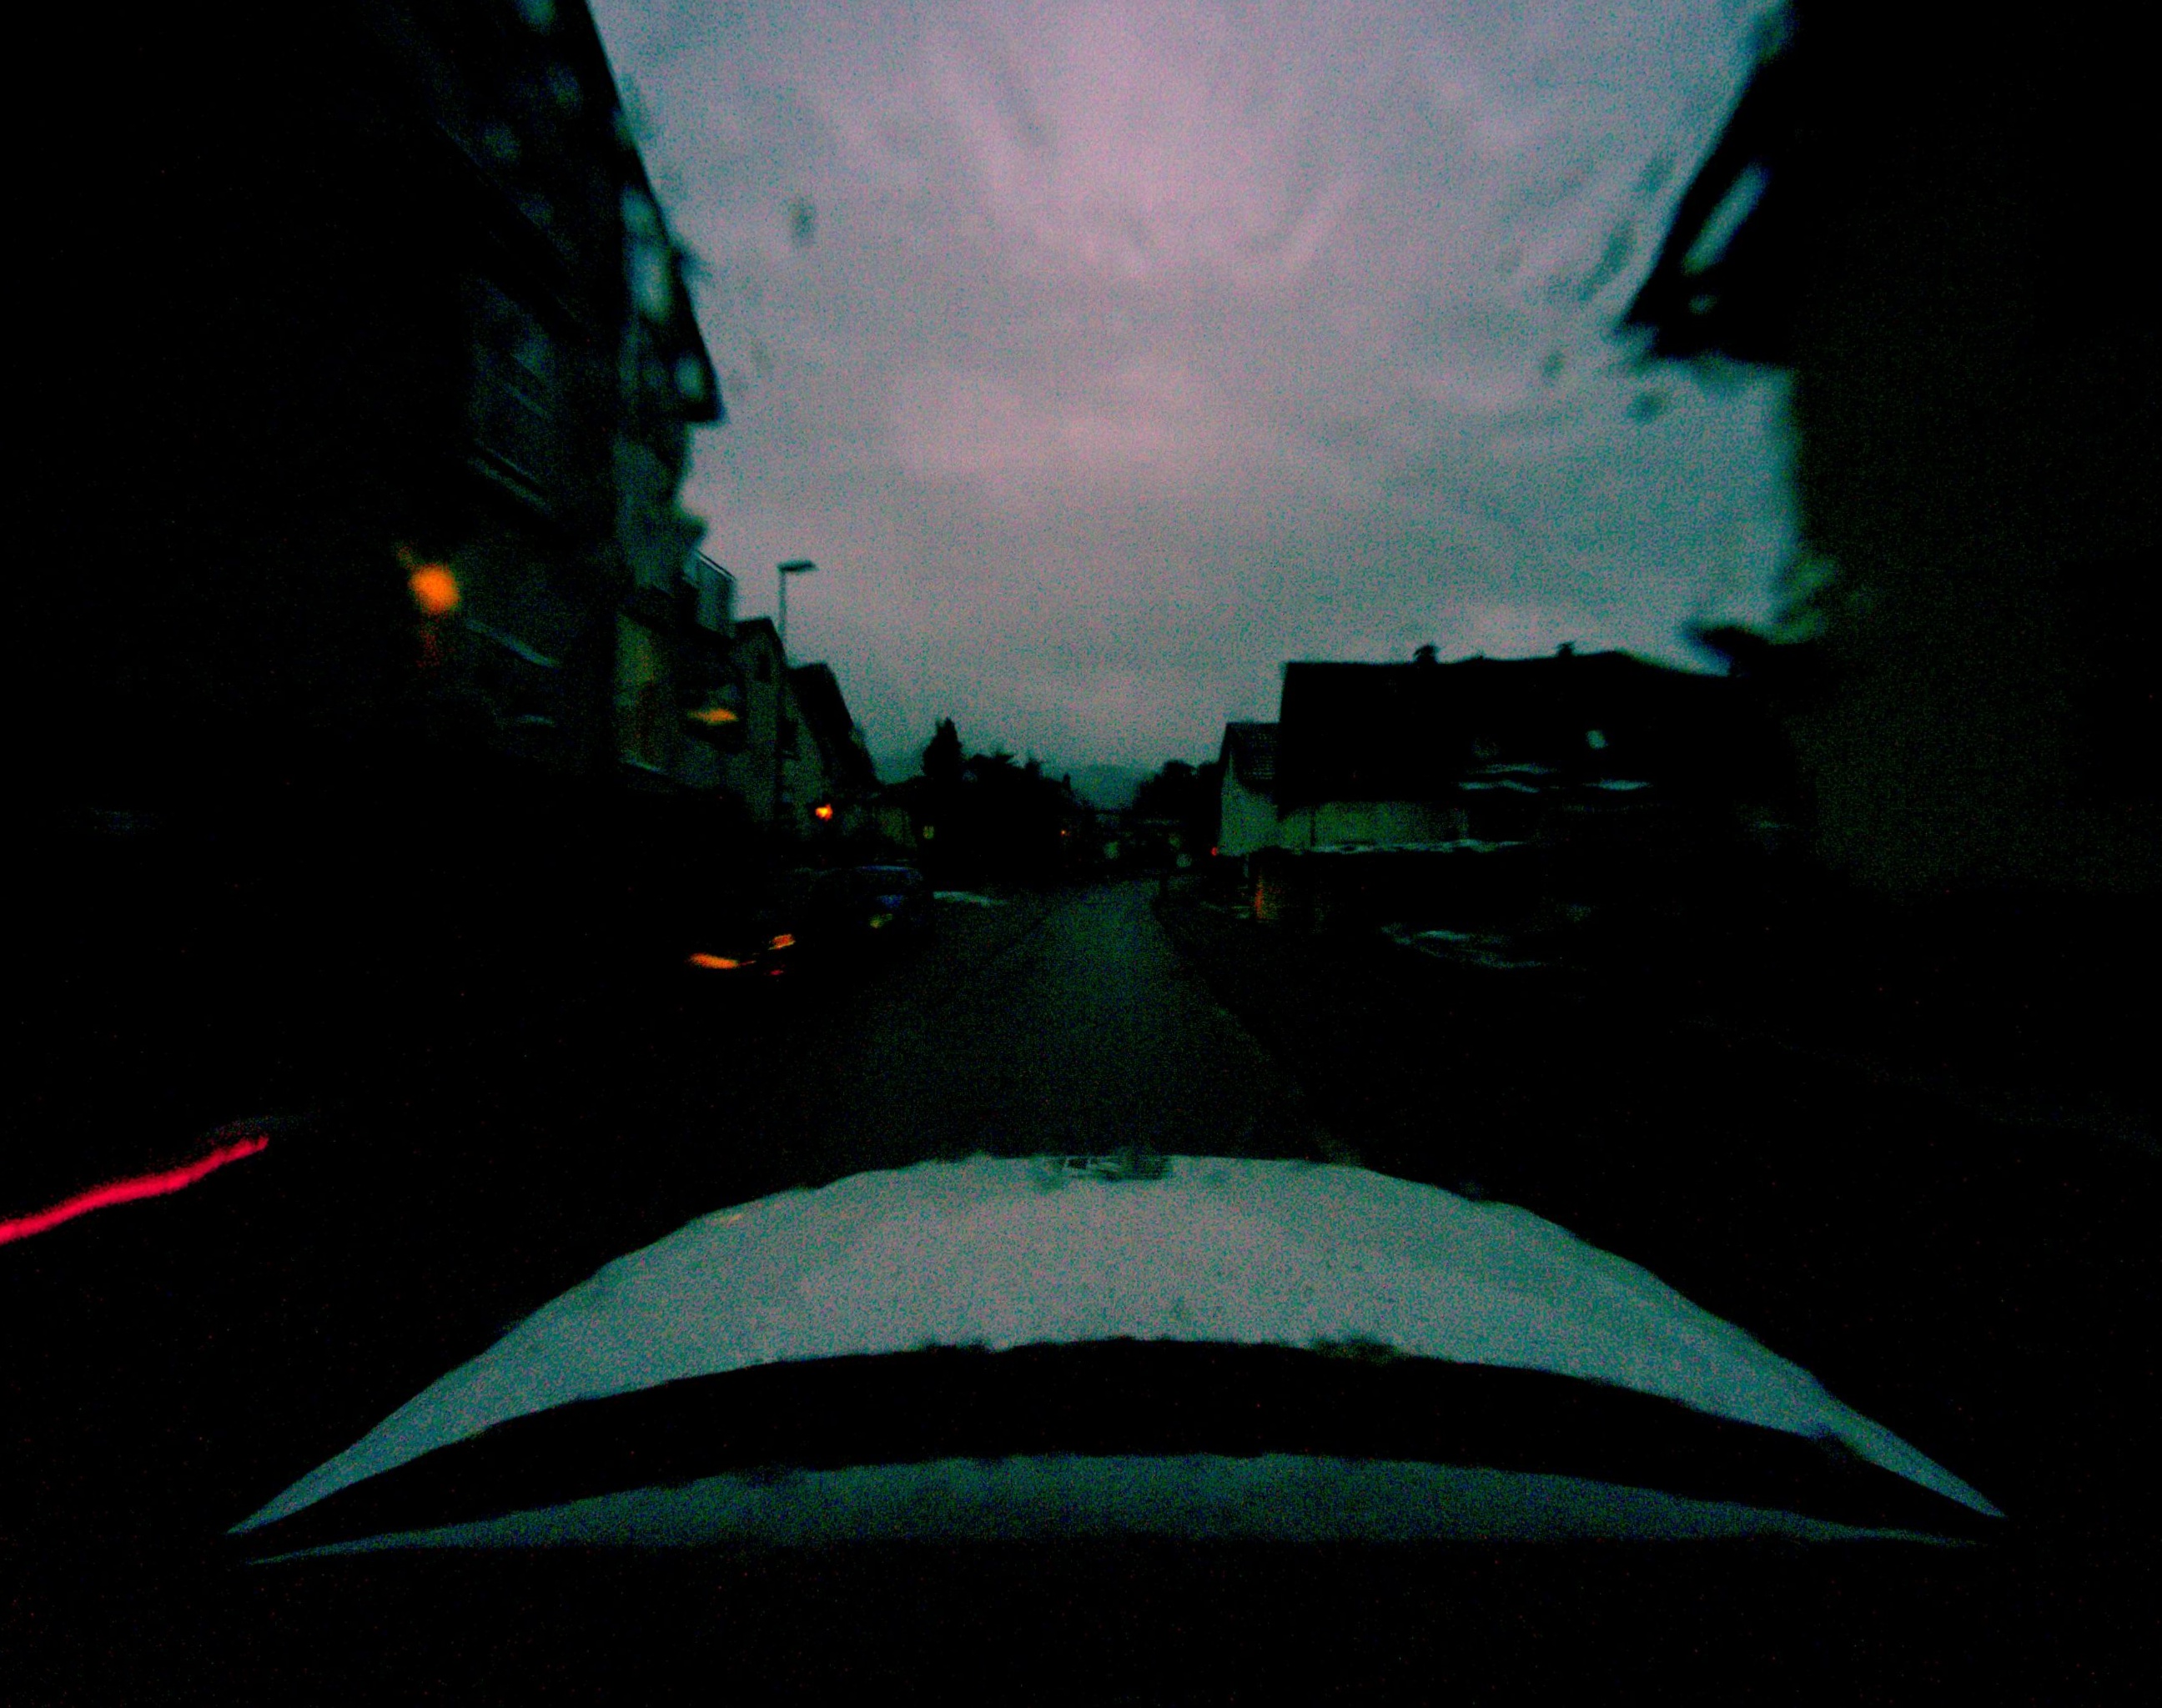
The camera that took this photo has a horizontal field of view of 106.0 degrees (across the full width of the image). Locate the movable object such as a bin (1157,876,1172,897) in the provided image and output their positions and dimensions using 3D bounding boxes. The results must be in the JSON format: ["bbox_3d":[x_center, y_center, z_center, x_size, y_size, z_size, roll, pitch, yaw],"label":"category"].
[{"bbox_3d":[3.950,1.545,38.655,0.611,0.946,0.596,-4,-3,8],"label":"movable object such as a bin"}]

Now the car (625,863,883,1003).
[{"bbox_3d":[-3.845,0.842,10.303,1.659,1.418,3.691,1,-1,1],"label":"car"}]

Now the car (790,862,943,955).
[{"bbox_3d":[-3.706,0.885,14.776,1.662,1.410,3.914,0,0,1],"label":"car"}]
